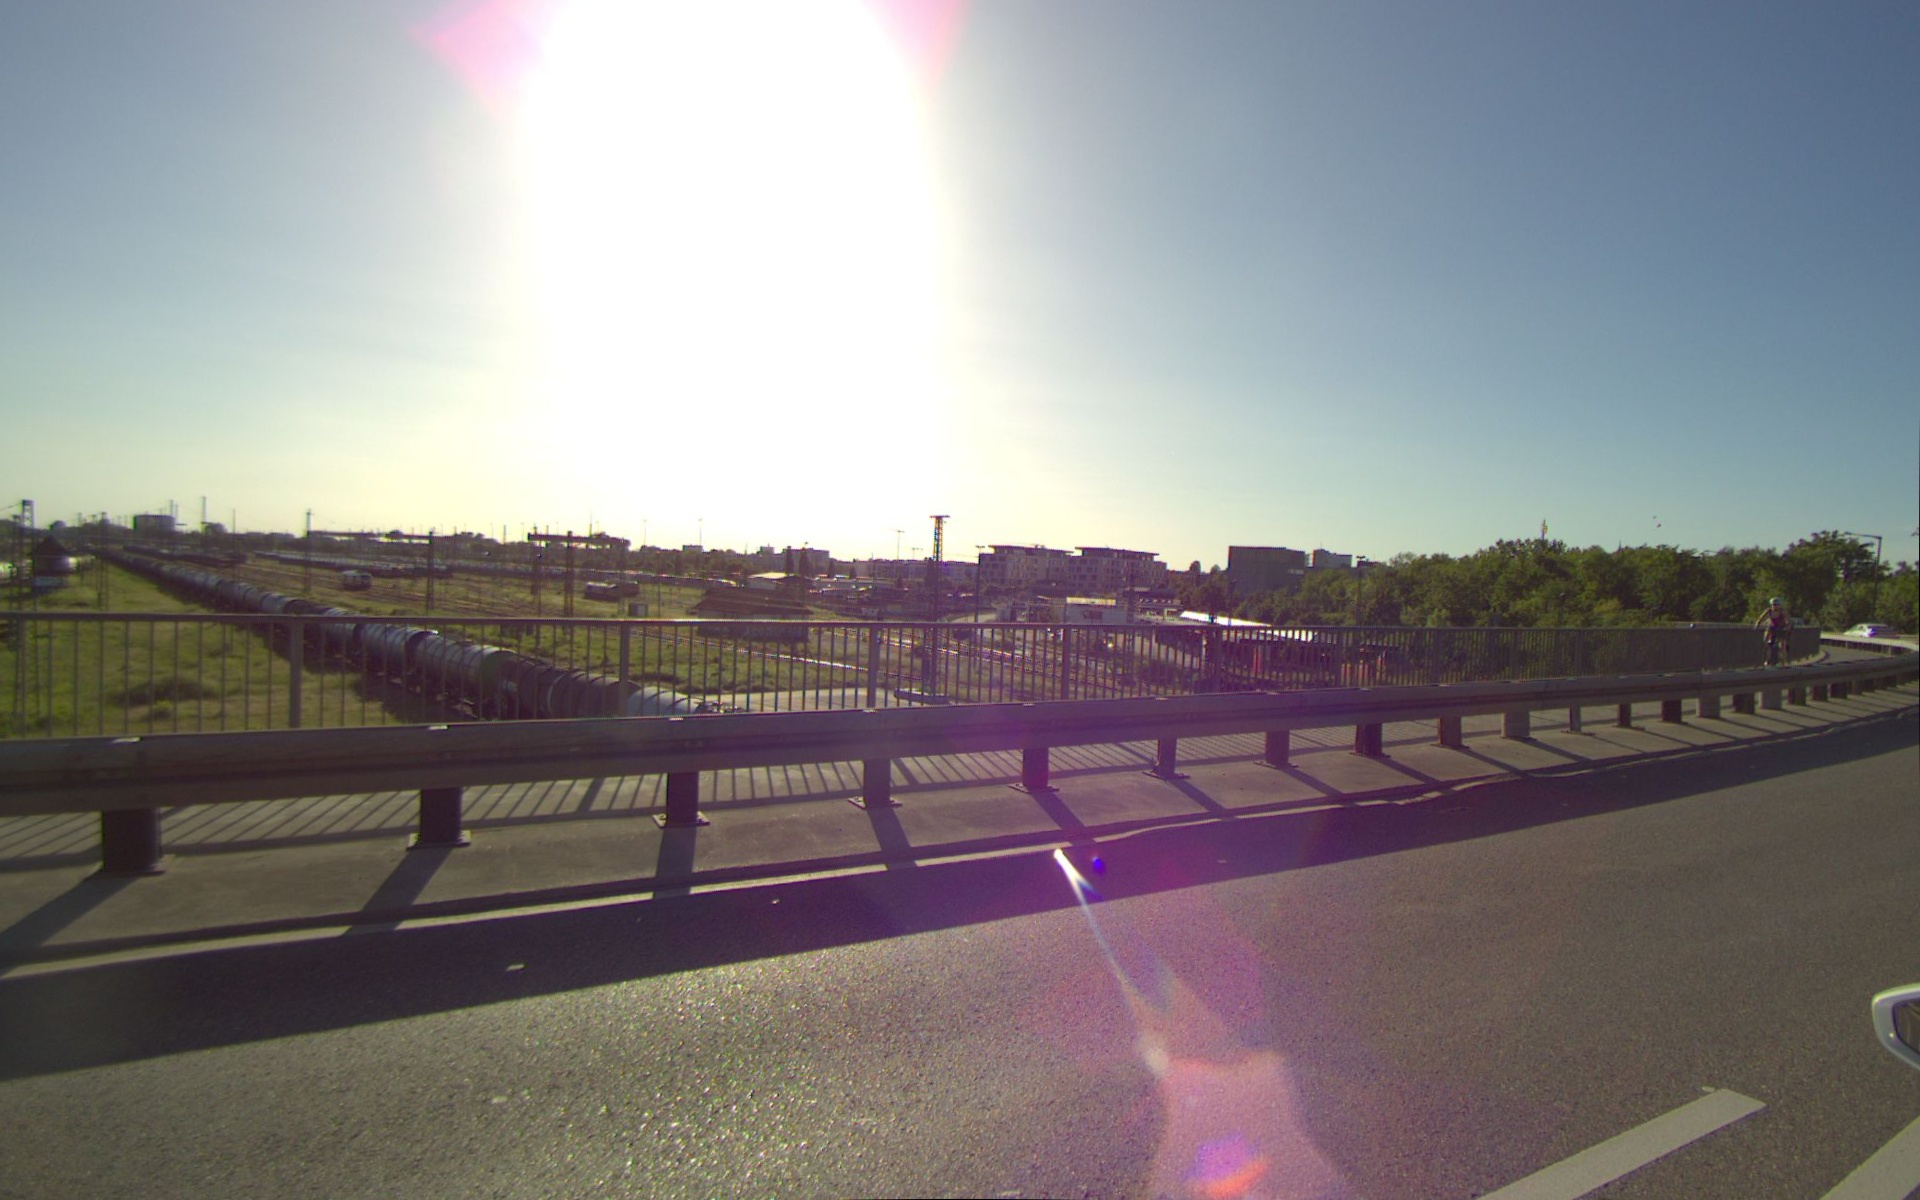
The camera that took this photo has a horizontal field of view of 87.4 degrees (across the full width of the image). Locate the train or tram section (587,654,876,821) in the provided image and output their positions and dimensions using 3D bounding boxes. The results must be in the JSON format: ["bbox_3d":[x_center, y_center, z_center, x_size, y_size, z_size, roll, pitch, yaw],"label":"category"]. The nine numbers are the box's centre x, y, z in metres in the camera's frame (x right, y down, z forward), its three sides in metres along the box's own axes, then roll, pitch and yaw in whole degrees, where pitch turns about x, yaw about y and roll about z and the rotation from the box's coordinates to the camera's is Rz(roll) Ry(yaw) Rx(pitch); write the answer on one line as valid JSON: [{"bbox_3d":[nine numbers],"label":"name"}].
[{"bbox_3d":[-10.028,4.995,41.019,3.877,4.652,16.559,1,0,-42],"label":"train or tram section"}]

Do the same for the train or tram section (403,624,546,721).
[{"bbox_3d":[-31.861,4.325,65.201,3.877,5.083,16.459,1,0,-42],"label":"train or tram section"}]

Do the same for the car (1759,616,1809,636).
[{"bbox_3d":[68.047,2.135,82.977,1.804,1.576,3.894,1,0,17],"label":"car"}]

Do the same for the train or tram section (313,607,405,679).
[{"bbox_3d":[-53.646,3.606,89.359,3.877,5.592,16.299,1,0,-42],"label":"train or tram section"}]

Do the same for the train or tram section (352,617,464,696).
[{"bbox_3d":[-42.769,4.053,77.336,3.877,5.083,16.162,1,0,-42],"label":"train or tram section"}]

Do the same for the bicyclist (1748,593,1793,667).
[{"bbox_3d":[18.135,0.656,22.468,0.762,1.611,0.648,1,0,-41],"label":"bicyclist"}]

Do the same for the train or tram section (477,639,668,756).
[{"bbox_3d":[-20.941,4.713,53.119,3.877,4.652,16.108,1,0,-42],"label":"train or tram section"}]

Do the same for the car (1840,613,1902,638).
[{"bbox_3d":[62.168,1.721,68.620,1.829,1.606,3.913,1,0,21],"label":"car"}]

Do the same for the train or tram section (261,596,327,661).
[{"bbox_3d":[-75.806,3.055,114.074,3.877,6.699,16.299,1,0,-42],"label":"train or tram section"}]

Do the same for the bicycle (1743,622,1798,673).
[{"bbox_3d":[18.186,1.035,22.522,1.875,1.079,0.648,1,0,-42],"label":"bicycle"}]
